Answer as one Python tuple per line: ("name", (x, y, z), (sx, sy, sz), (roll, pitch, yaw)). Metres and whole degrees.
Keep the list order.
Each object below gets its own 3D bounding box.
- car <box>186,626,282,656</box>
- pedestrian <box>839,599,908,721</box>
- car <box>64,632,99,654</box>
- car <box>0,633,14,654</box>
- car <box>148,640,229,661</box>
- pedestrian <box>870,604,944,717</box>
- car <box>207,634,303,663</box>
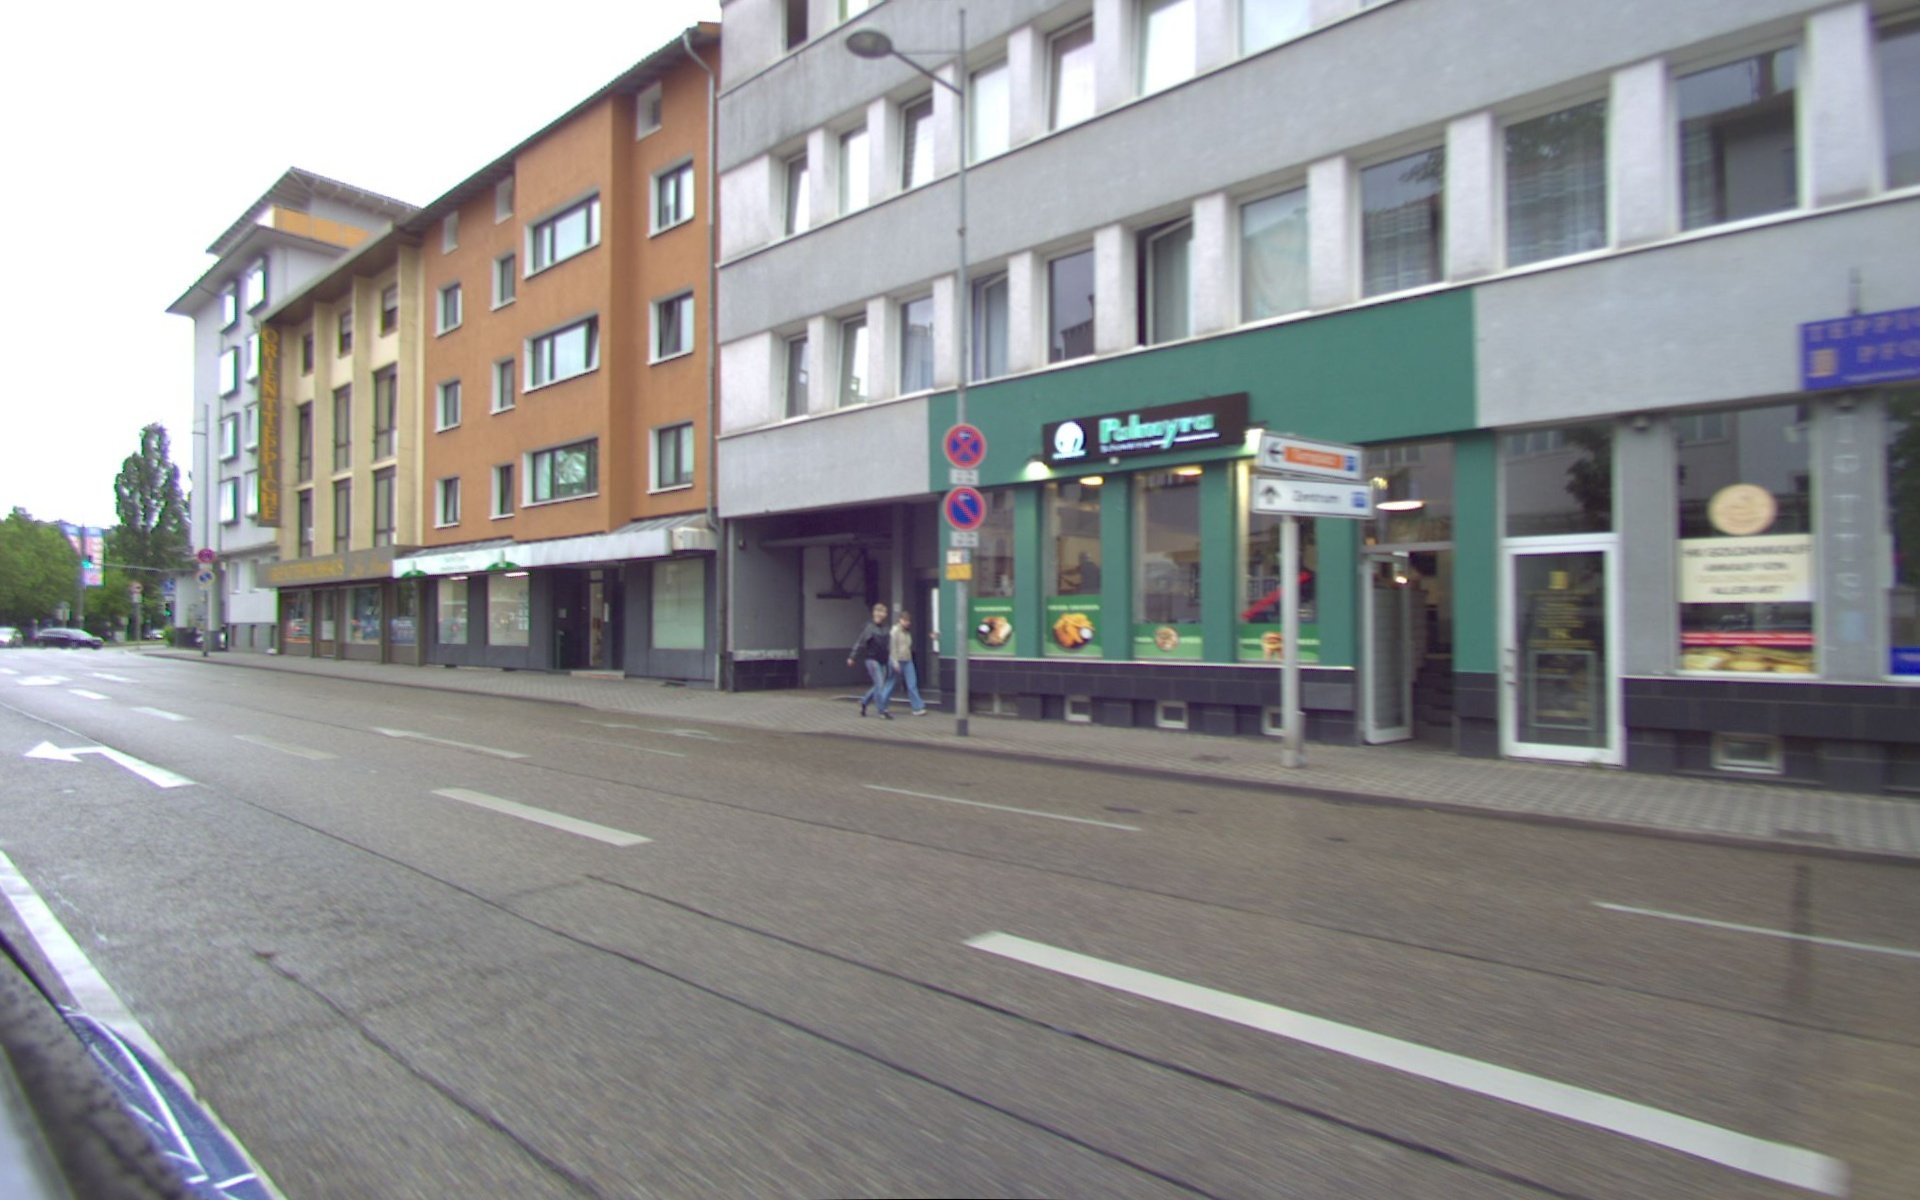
("car", (-38.720, 2.184, 54.024), (1.797, 1.431, 3.772), (1, -3, 41))
("pedestrian", (-1.340, 0.899, 15.618), (0.826, 1.801, 0.569), (-1, 3, 41))
("car", (-62.305, 3.018, 71.758), (1.778, 1.445, 4.401), (-1, -1, -43))
("car", (-73.977, 3.330, 77.729), (1.869, 1.588, 4.365), (3, -4, -43))
("car", (-53.022, 3.439, 69.616), (1.725, 1.377, 4.073), (-2, -3, 26))
("pedestrian", (-0.839, 0.925, 15.954), (0.908, 1.687, 0.624), (-1, 3, 40))
("car", (-34.985, 2.412, 50.280), (1.494, 1.348, 3.587), (-1, -4, 39))
